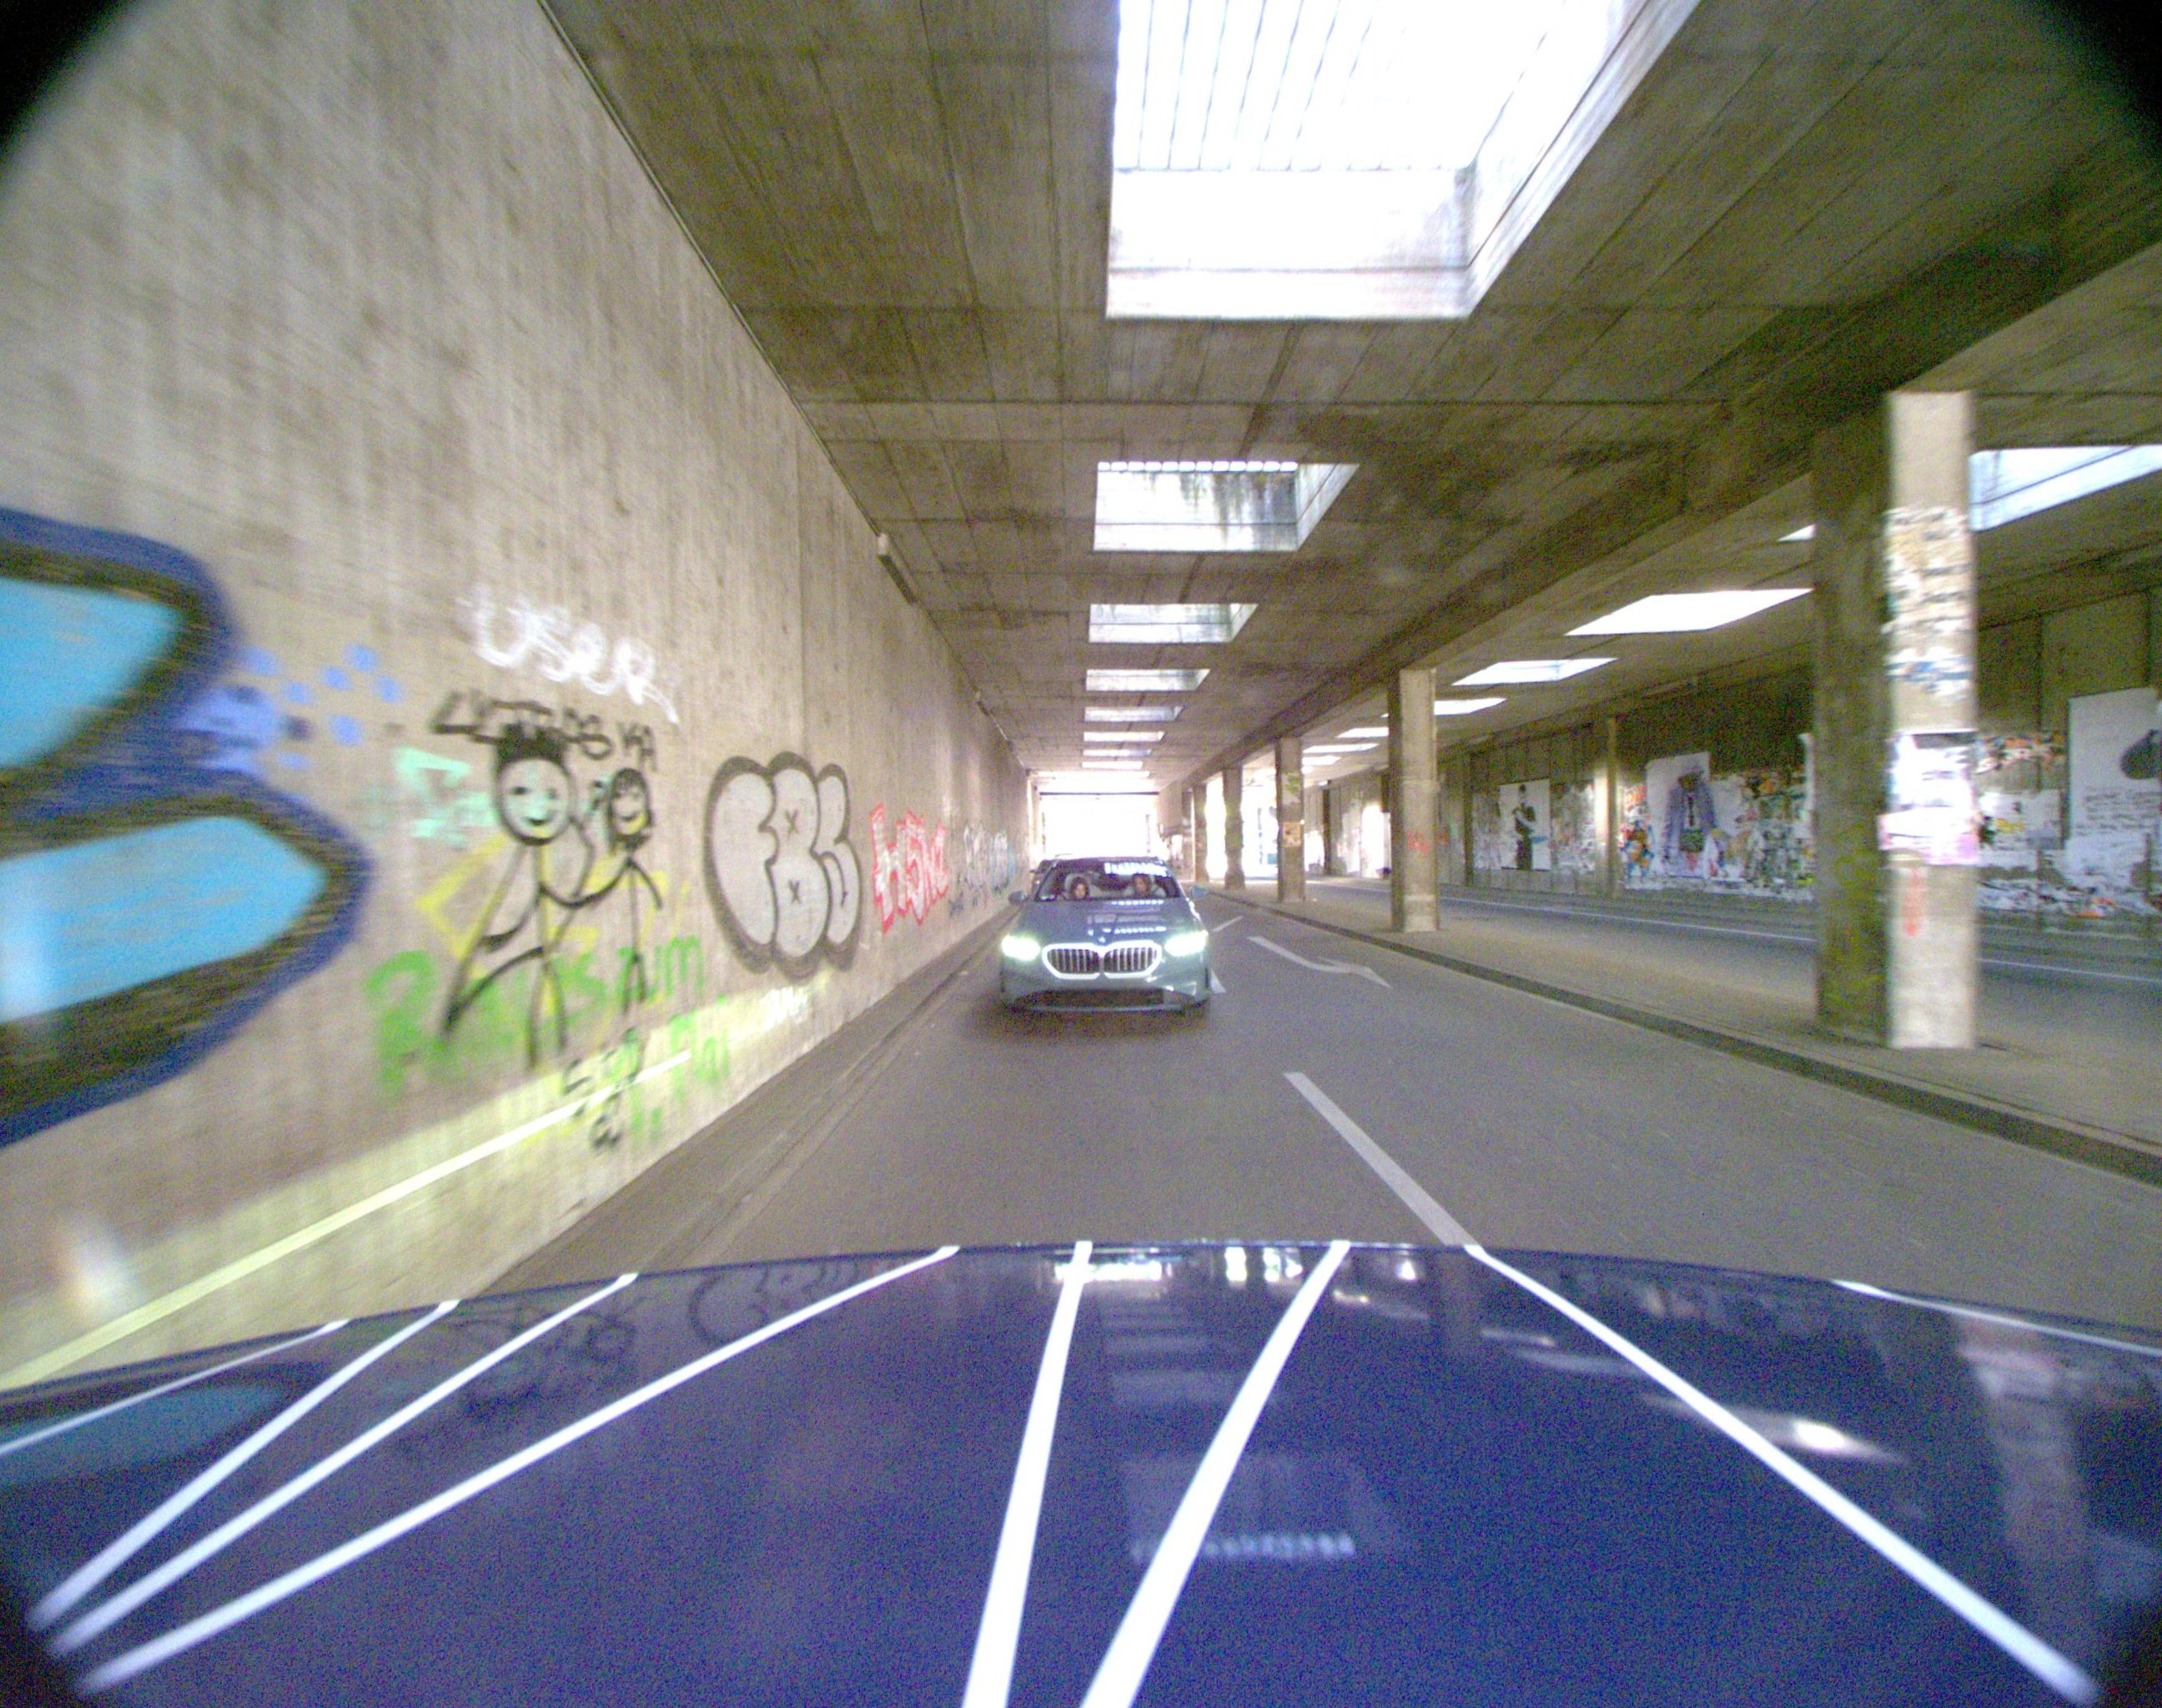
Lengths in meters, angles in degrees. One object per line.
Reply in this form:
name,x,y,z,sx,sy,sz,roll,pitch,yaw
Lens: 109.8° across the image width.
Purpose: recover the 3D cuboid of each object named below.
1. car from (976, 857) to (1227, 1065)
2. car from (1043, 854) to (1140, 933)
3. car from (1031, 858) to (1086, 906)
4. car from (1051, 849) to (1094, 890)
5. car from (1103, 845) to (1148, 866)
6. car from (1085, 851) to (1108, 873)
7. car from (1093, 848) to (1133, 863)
car,0.203,0.864,8.543,1.957,1.546,5.040,-1,0,1
car,0.257,0.814,17.725,1.957,1.546,4.247,-1,0,1
car,-0.663,0.845,25.101,1.616,1.367,4.199,-1,0,1
car,-0.284,0.596,31.275,1.616,1.546,4.013,-1,0,1
car,3.898,0.091,66.607,3.614,1.674,1.851,-2,1,-7
car,1.164,0.581,57.798,1.616,1.546,4.013,-1,0,1
car,3.374,0.135,80.307,3.998,1.386,1.833,-2,1,-4
